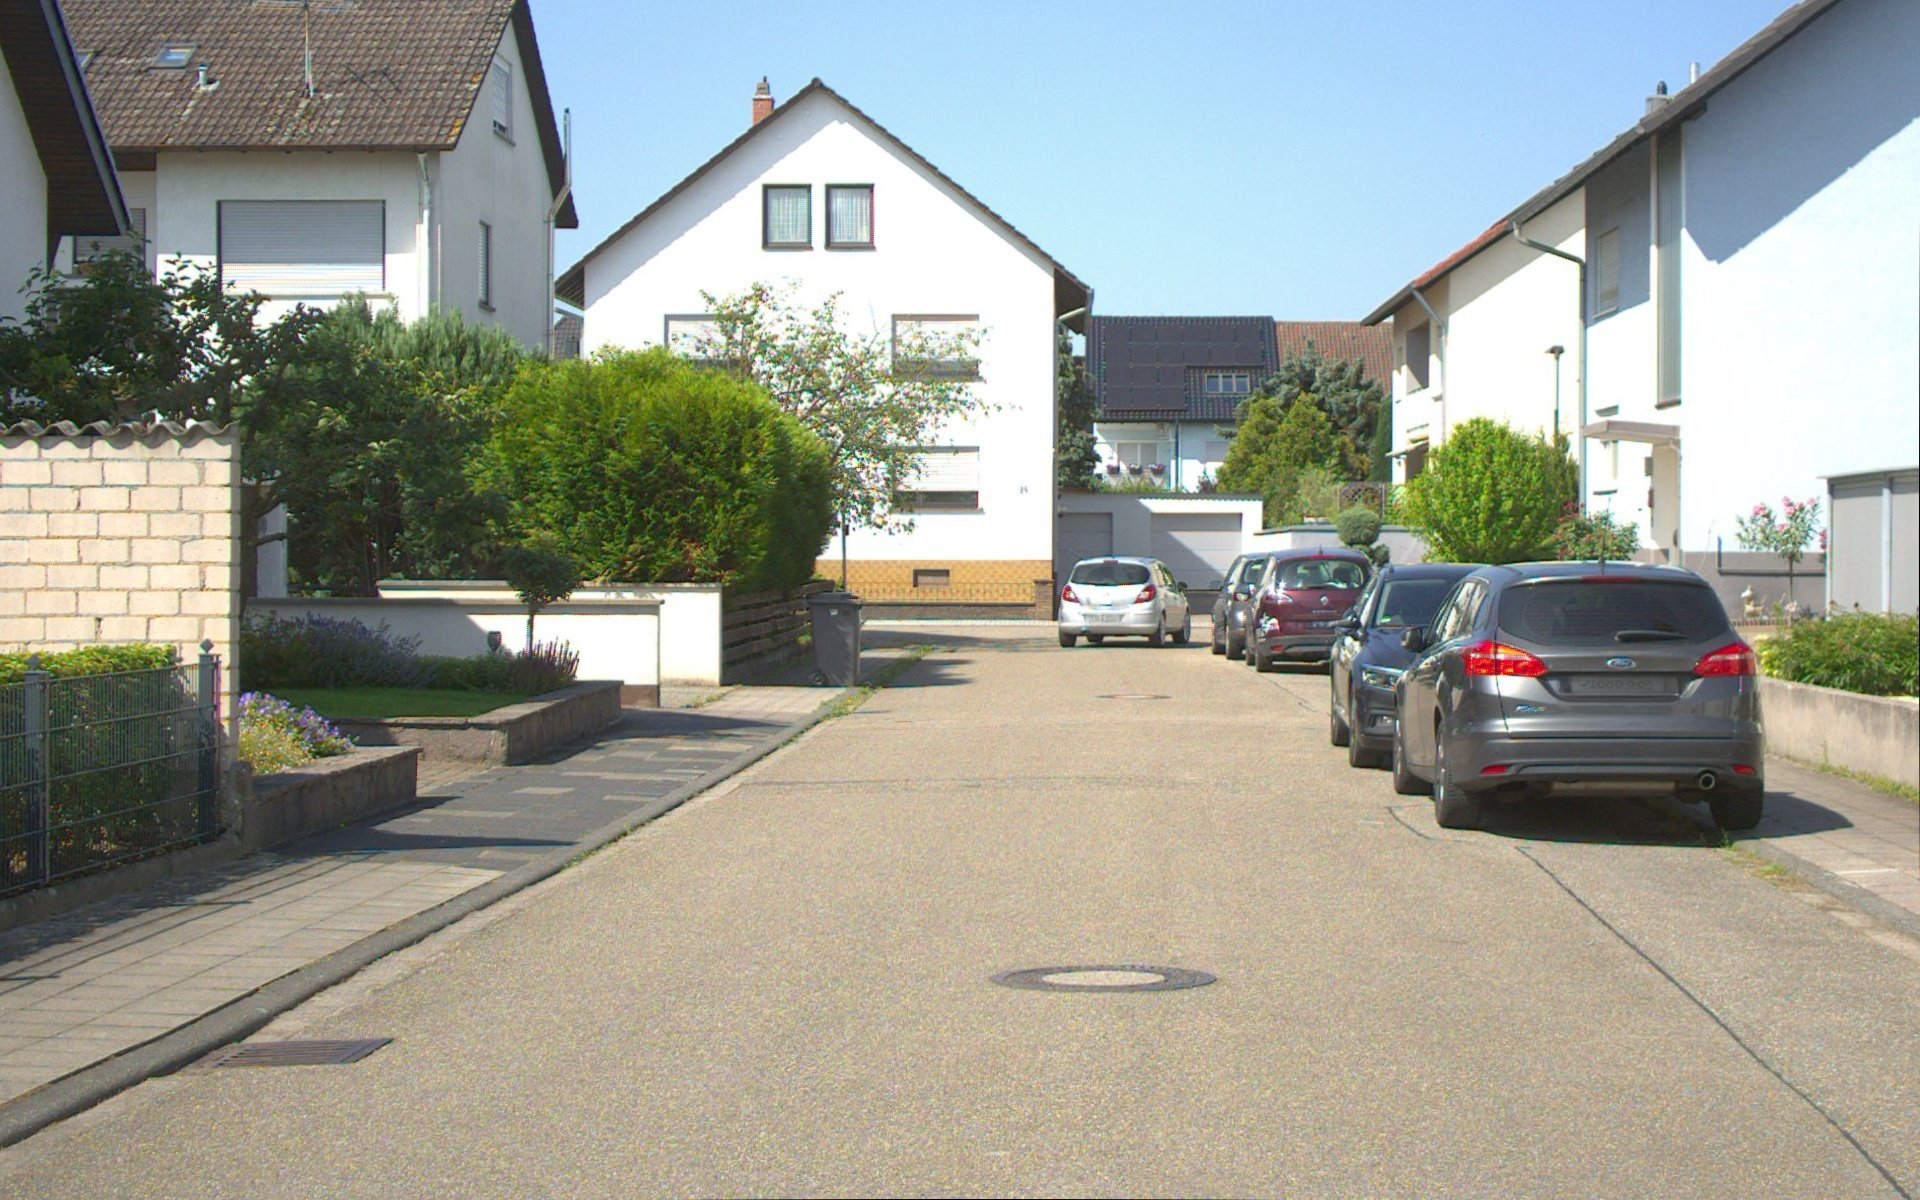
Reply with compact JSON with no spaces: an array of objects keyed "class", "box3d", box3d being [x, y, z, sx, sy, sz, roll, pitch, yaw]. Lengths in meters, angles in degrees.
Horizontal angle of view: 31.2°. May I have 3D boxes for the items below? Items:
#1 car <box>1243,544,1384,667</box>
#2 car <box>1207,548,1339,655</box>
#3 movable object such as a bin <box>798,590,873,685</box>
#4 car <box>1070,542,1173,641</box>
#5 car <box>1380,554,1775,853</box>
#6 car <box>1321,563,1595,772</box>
[{"class":"car","box3d":[4.734,0.040,46.491,1.645,1.576,4.147,0,1,2]},{"class":"car","box3d":[4.672,-0.004,51.734,1.645,1.540,4.048,0,1,0]},{"class":"movable object such as a bin","box3d":[-1.417,0.422,39.245,0.818,1.060,0.611,0,1,2]},{"class":"car","box3d":[2.661,-0.166,56.825,1.645,1.576,3.809,0,1,2]},{"class":"car","box3d":[3.500,0.519,20.127,1.642,1.473,4.000,2,2,2]},{"class":"car","box3d":[3.676,0.441,26.016,1.717,1.433,4.502,0,1,4]}]
